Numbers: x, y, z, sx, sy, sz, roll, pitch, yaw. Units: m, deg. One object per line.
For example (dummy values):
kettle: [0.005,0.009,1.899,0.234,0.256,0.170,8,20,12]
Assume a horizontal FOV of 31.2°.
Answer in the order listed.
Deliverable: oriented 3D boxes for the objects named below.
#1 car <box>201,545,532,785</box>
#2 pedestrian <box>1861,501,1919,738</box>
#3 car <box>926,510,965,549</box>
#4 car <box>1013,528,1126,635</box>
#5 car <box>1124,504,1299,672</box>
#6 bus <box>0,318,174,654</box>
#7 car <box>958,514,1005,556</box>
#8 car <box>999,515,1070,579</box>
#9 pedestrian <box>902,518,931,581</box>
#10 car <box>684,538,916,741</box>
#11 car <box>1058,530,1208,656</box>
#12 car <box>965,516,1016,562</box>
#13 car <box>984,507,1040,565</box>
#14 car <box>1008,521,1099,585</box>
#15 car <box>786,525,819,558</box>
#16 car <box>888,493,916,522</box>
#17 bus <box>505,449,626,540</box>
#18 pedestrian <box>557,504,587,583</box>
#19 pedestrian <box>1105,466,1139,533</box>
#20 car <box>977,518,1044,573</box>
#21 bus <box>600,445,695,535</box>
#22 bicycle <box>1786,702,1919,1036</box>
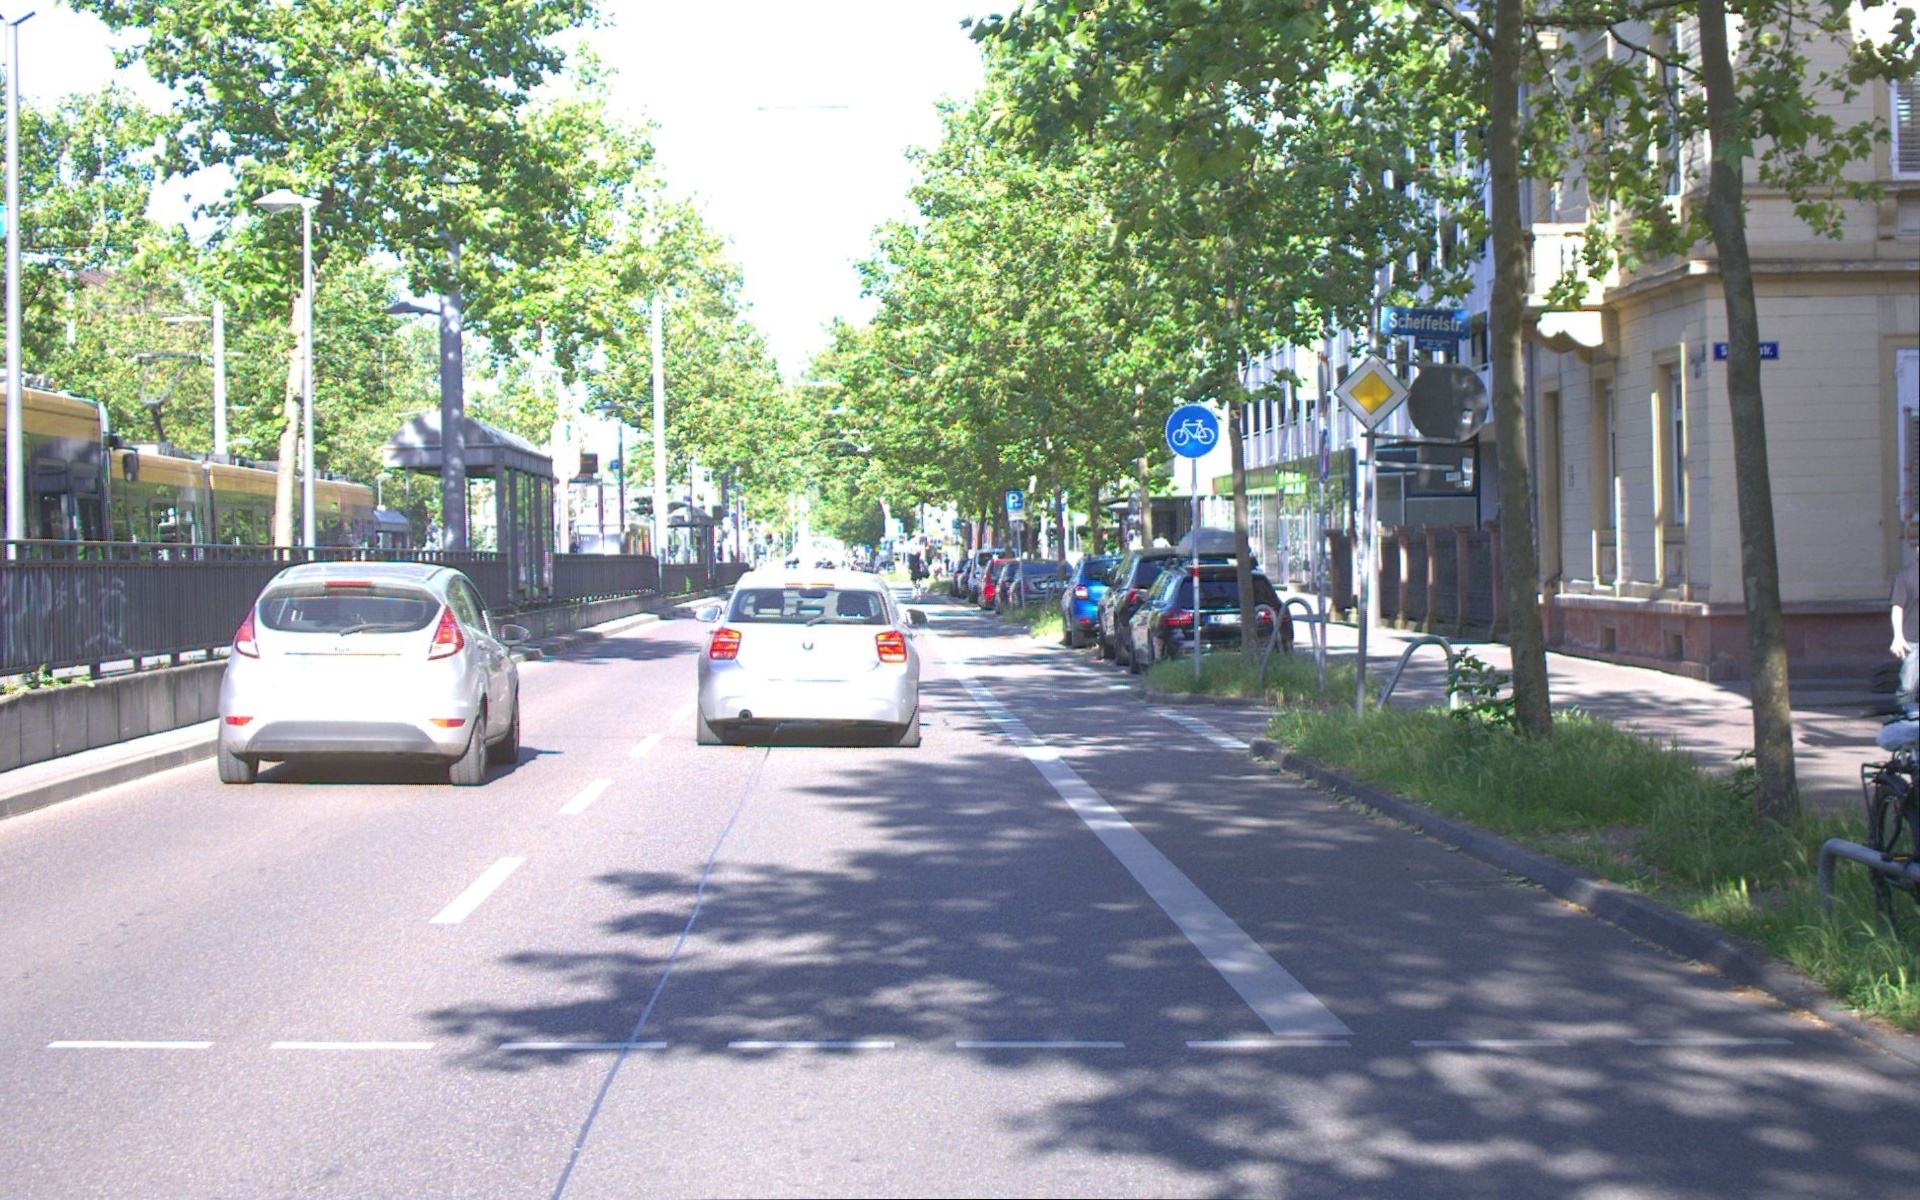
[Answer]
car: [-3.934,0.379,23.315,1.646,1.358,3.760,1,2,-1]
pedestrian: [7.577,0.145,27.134,0.564,1.820,0.959,1,2,-5]
car: [-0.790,-3.846,187.969,1.993,2.006,4.001,1,2,-1]
car: [1.865,-0.351,59.478,1.692,1.652,4.040,-1,3,-2]
car: [3.164,-0.211,44.050,1.754,1.958,4.738,0,2,-2]
bus: [-11.290,-1.205,37.665,2.869,3.432,11.612,-1,1,-1]
car: [0.809,-2.538,133.532,1.700,1.529,3.717,1,2,-1]
car: [1.950,-1.420,90.878,1.669,1.546,4.001,1,2,-1]
pedestrian: [-1.417,-1.645,111.858,0.838,2.006,0.648,2,2,6]
car: [-1.314,0.269,28.541,1.762,1.427,4.001,1,2,-2]
car: [2.475,-0.145,50.263,1.798,1.694,4.738,-1,2,-2]
car: [1.097,-2.246,125.961,1.711,1.557,4.001,1,2,-1]
car: [1.757,-2.200,116.767,1.724,1.874,4.001,1,2,-1]
car: [2.295,-1.195,85.568,1.993,1.504,4.598,1,1,-1]
car: [-10.355,-3.831,225.902,1.993,2.006,4.001,1,2,-1]
car: [-4.209,-6.739,250.053,1.993,2.006,4.001,-1,3,-1]
bus: [-16.788,-4.663,148.247,2.869,3.616,24.607,0,2,-1]
pedestrian: [-9.713,-1.415,86.008,0.639,1.947,0.814,1,2,-1]
pedestrian: [4.888,-3.029,103.801,0.963,2.007,0.939,-1,1,-1]
car: [1.459,-1.607,100.851,1.806,1.515,4.001,1,1,-1]
bus: [-13.330,-4.794,147.928,2.750,3.613,18.850,0,2,-1]
bicycle: [3.324,0.904,11.922,0.428,0.967,1.751,1,2,-2]
